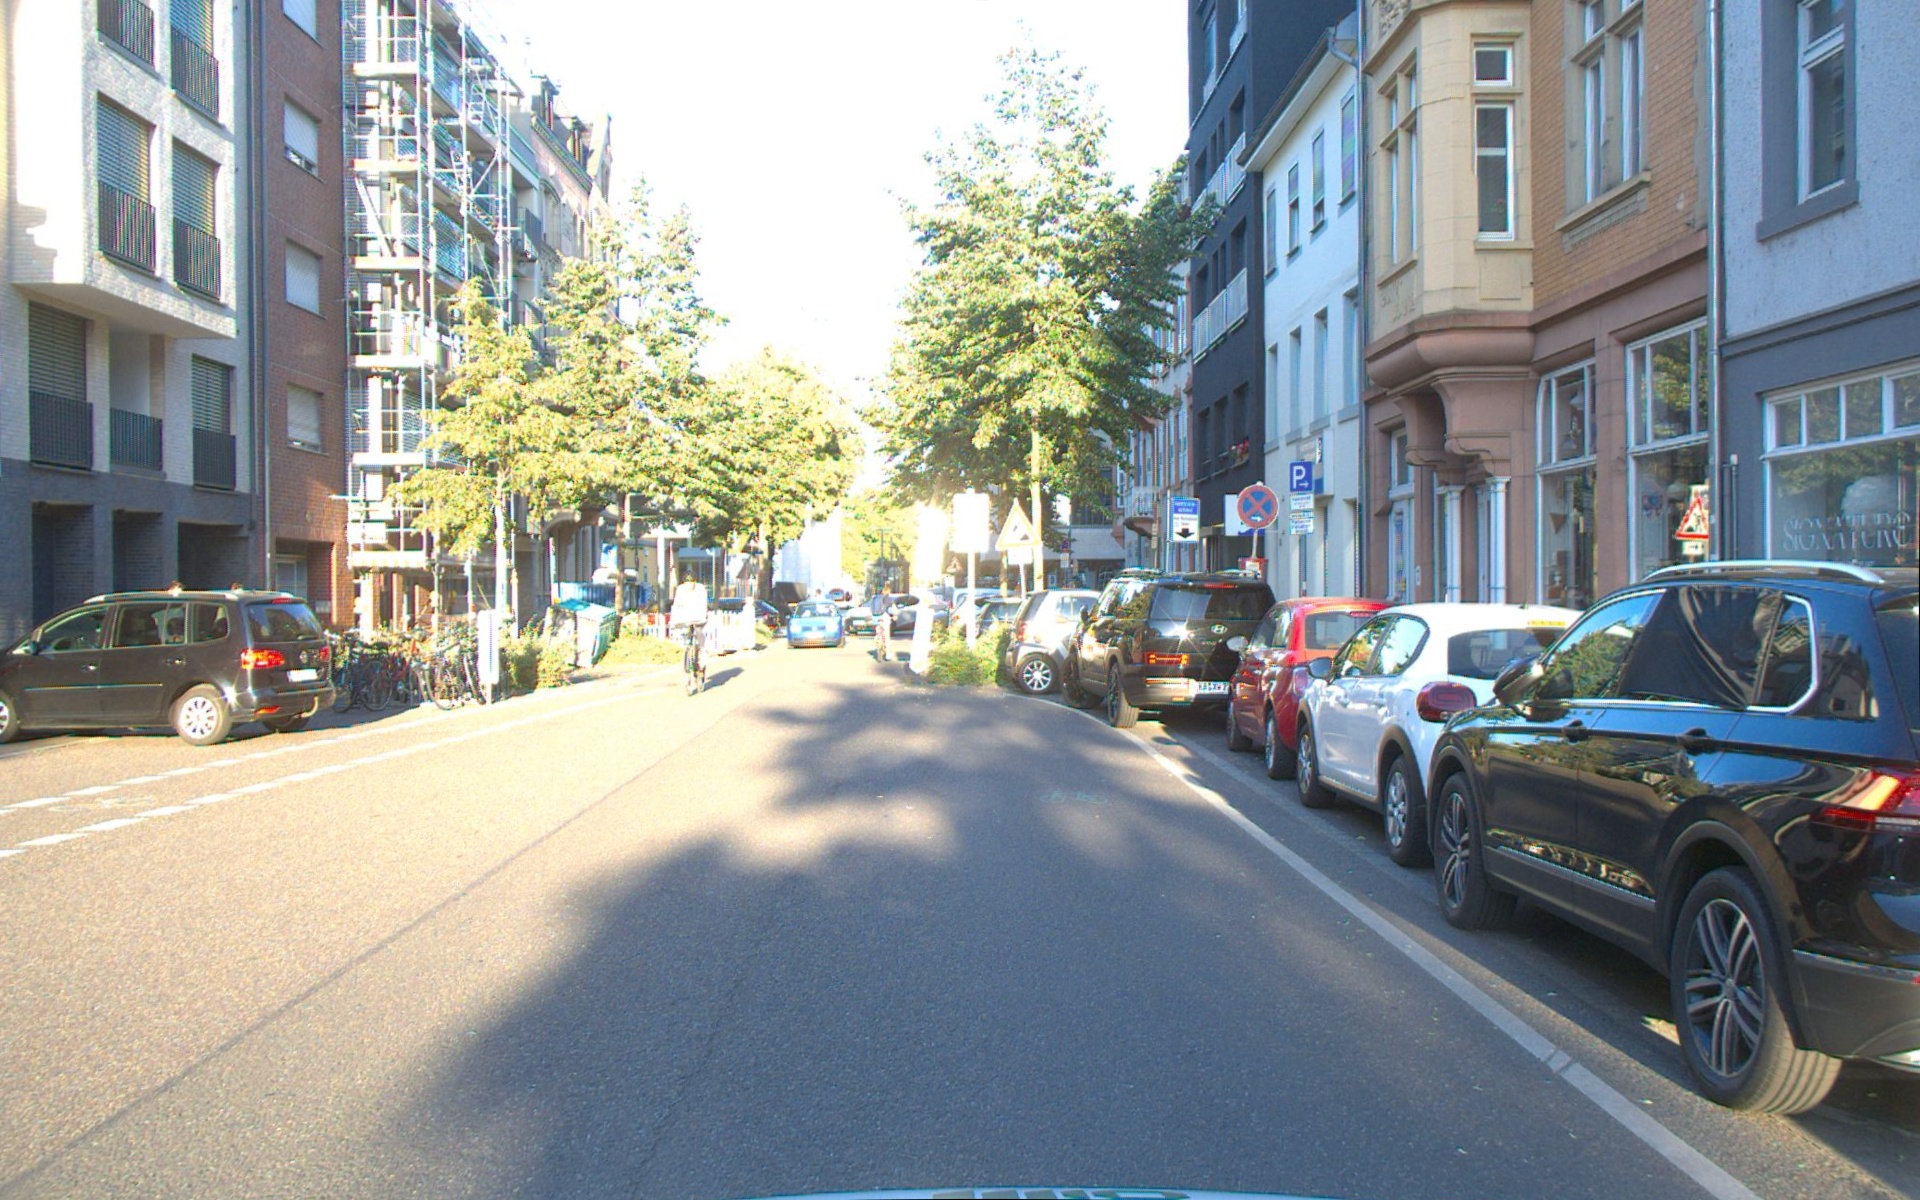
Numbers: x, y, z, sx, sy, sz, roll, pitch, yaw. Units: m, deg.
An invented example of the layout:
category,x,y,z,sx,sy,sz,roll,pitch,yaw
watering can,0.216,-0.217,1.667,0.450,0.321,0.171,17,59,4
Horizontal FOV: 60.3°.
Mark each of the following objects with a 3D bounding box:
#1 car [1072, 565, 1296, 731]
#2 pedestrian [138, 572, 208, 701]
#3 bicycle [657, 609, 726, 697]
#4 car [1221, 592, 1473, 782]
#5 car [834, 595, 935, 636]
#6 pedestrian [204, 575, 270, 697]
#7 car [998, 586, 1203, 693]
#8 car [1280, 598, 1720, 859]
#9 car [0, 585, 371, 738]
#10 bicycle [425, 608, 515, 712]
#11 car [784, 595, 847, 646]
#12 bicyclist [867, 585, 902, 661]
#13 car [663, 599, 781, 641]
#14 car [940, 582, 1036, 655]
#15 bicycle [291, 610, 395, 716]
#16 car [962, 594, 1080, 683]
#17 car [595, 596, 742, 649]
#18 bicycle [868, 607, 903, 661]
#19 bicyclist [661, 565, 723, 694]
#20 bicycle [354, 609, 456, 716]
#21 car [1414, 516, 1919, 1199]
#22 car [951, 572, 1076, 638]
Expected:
category,x,y,z,sx,sy,sz,roll,pitch,yaw
car,2.517,0.516,19.633,1.789,1.725,4.365,1,0,-4
pedestrian,-11.205,0.516,23.565,0.703,1.798,0.693,1,-1,-9
bicycle,-3.980,0.763,24.636,0.765,1.225,2.019,-1,0,-3
car,3.377,0.709,14.956,1.554,1.509,3.266,1,0,1
car,-2.926,0.610,64.974,1.849,1.506,4.450,1,0,30
pedestrian,-10.703,0.526,24.495,0.703,1.771,0.737,1,-1,-9
car,2.110,0.595,25.277,2.910,1.563,1.432,1,0,-5
car,3.315,0.711,10.916,1.632,1.402,3.802,1,0,0
car,-9.350,0.705,19.100,4.398,1.630,2.002,-1,-1,12
bicycle,-7.022,0.807,23.836,0.829,1.374,3.180,-1,0,-9
car,-4.390,0.594,50.876,1.802,1.466,4.328,-1,0,-4
bicyclist,-1.761,0.531,38.644,0.765,1.726,1.006,-1,0,-3
car,-8.748,0.723,61.054,4.018,1.491,1.889,1,0,0
car,0.735,0.520,47.379,2.221,1.796,4.505,5,-1,-4
bicycle,-8.721,0.844,23.527,0.766,1.397,3.135,1,0,-9
car,1.173,0.754,34.067,1.954,1.697,4.506,1,0,-4
car,-8.651,0.670,49.282,4.018,1.491,1.889,1,0,0
bicycle,-1.756,0.776,38.747,0.765,1.225,2.019,-1,0,-3
bicyclist,-3.981,0.434,24.614,0.765,1.861,1.006,-1,0,-3
bicycle,-7.892,0.839,23.682,0.876,1.420,3.159,0,0,-9
car,3.192,0.662,6.229,1.775,1.697,4.205,1,0,0
car,1.732,0.156,52.765,3.903,2.049,2.001,-1,0,3
